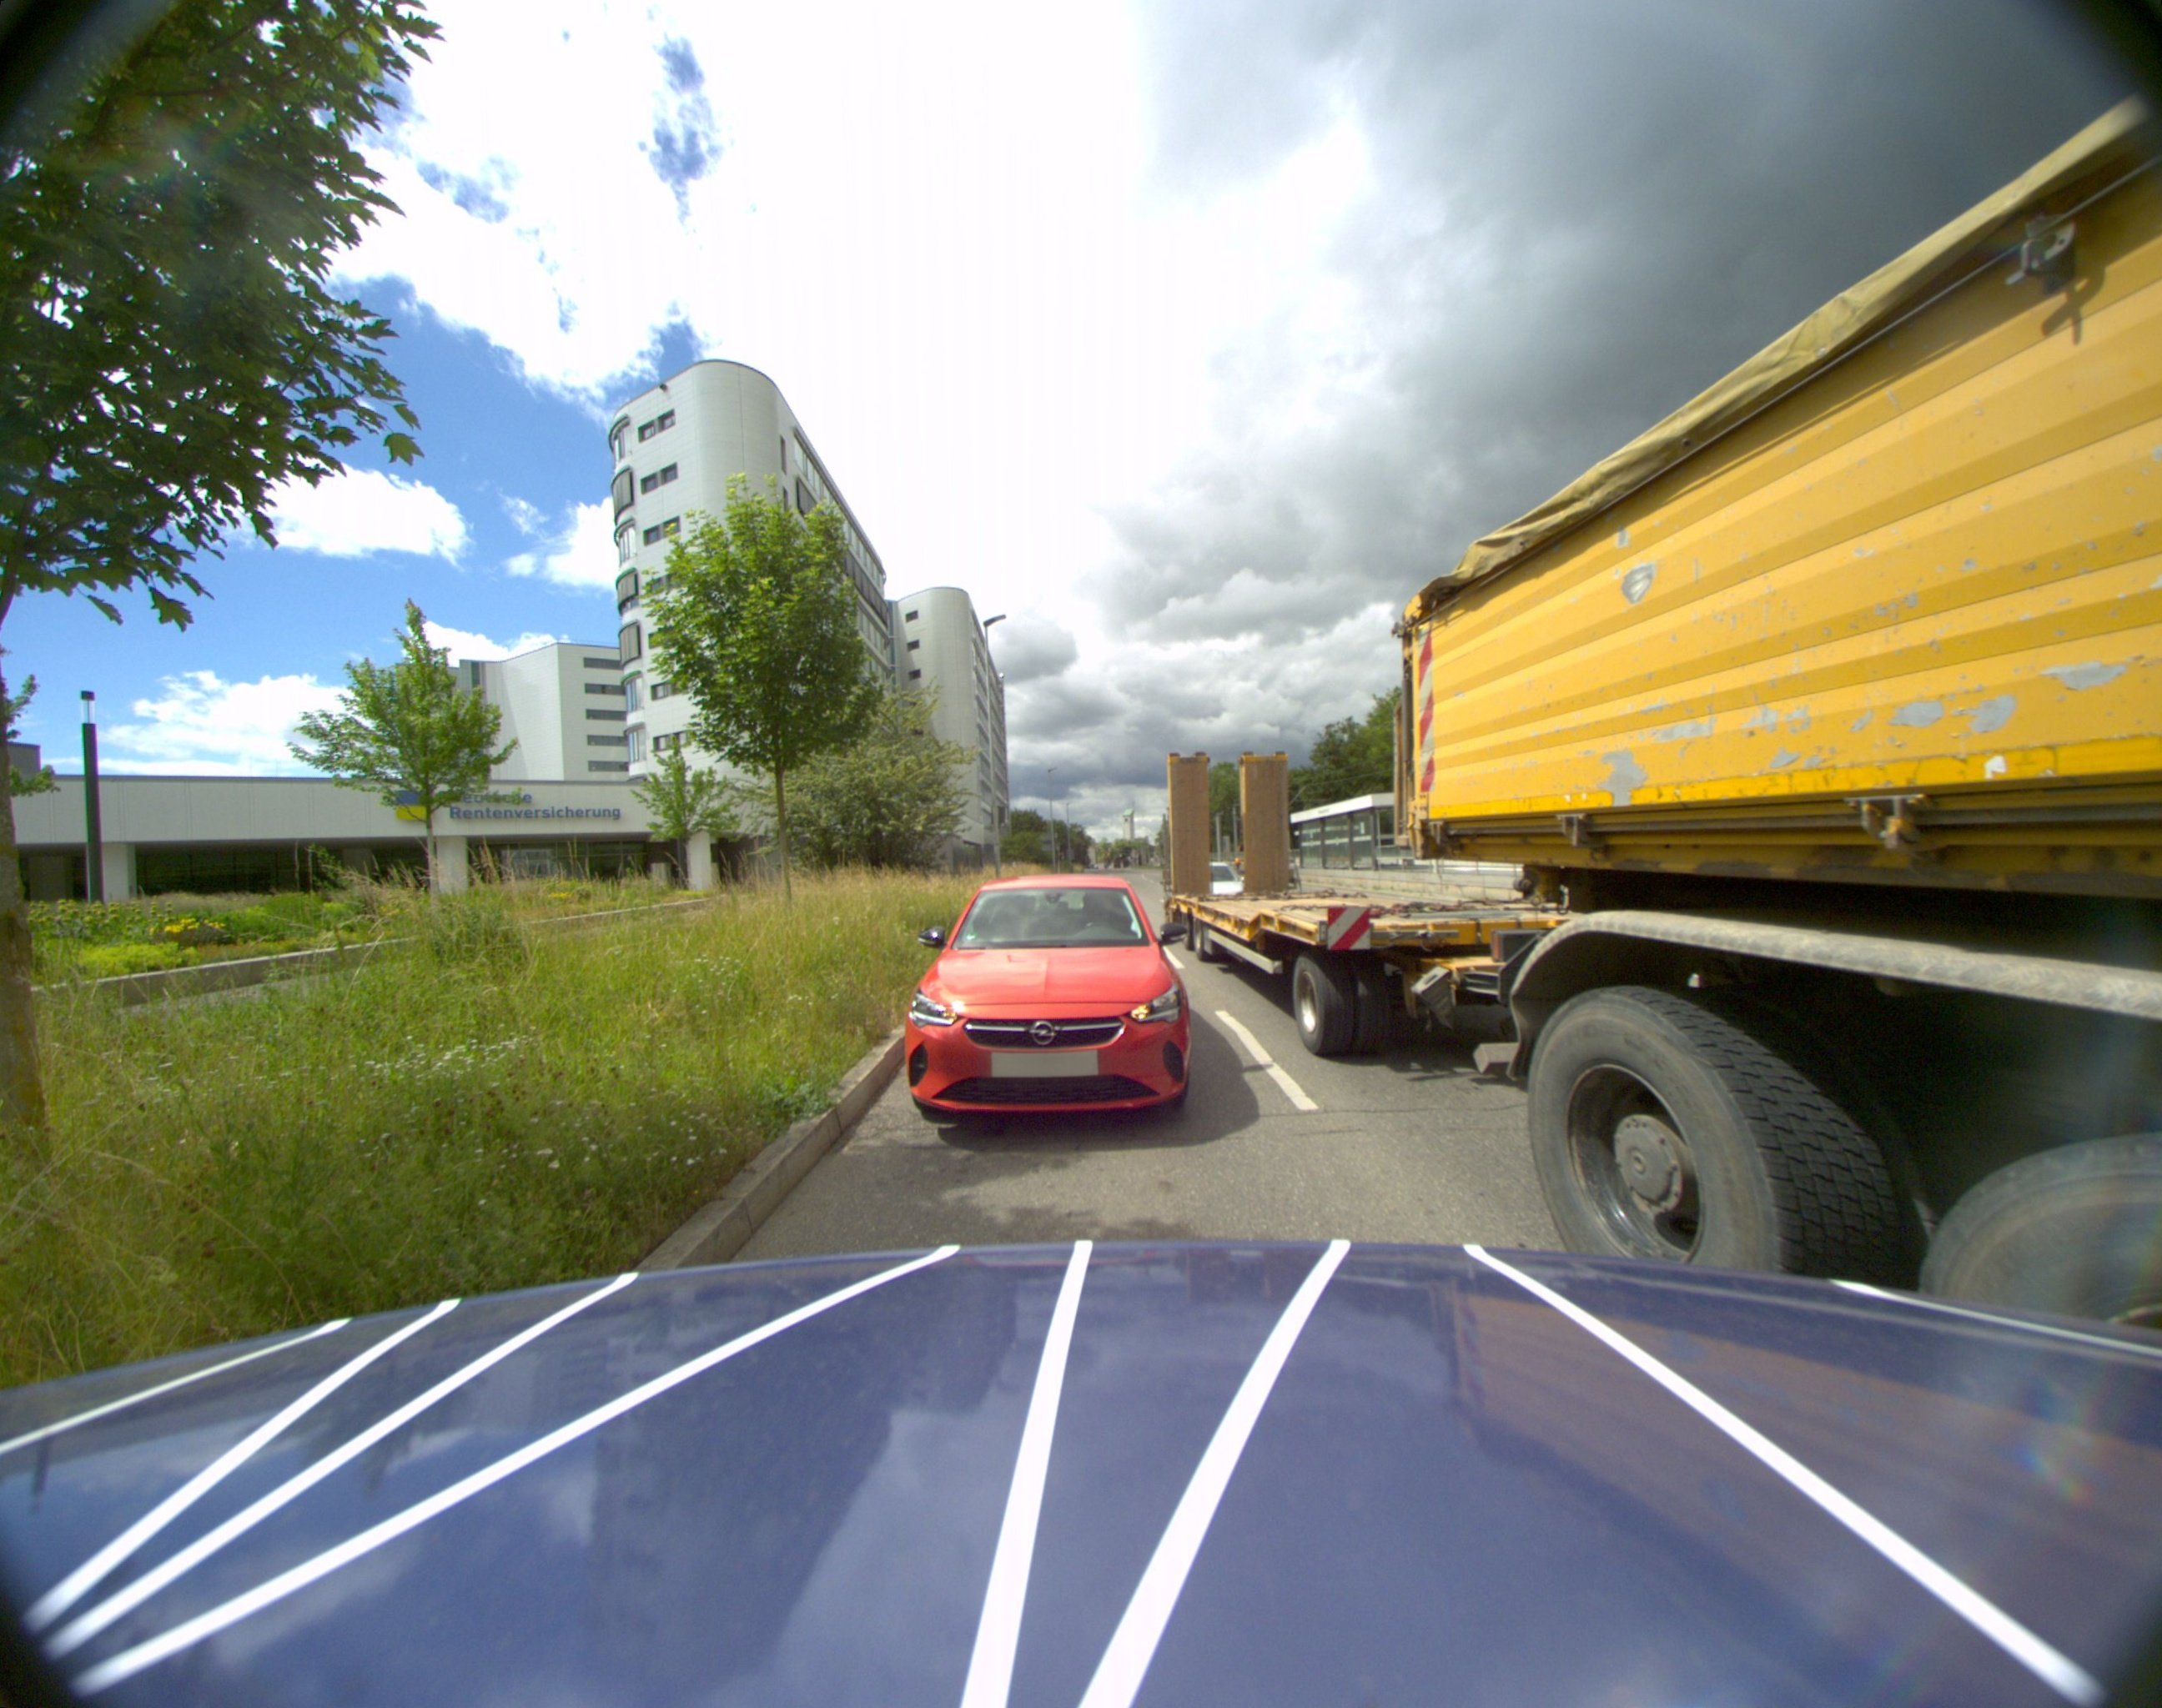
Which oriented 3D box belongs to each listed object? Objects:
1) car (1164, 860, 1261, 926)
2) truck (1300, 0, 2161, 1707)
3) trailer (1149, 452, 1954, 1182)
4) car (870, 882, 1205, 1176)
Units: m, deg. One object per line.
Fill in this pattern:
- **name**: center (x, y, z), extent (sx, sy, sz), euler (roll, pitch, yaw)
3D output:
- **car**: center (3.177, 0.900, 19.019), extent (1.784, 1.408, 3.785), euler (-2, 0, 1)
- **truck**: center (2.798, -0.053, 0.120), extent (3.057, 3.374, 8.006), euler (-2, 0, 0)
- **trailer**: center (2.941, -0.168, 9.422), extent (3.057, 3.676, 10.965), euler (-2, 0, 0)
- **car**: center (-0.199, 0.994, 5.852), extent (1.749, 1.408, 3.676), euler (-1, 0, 1)
